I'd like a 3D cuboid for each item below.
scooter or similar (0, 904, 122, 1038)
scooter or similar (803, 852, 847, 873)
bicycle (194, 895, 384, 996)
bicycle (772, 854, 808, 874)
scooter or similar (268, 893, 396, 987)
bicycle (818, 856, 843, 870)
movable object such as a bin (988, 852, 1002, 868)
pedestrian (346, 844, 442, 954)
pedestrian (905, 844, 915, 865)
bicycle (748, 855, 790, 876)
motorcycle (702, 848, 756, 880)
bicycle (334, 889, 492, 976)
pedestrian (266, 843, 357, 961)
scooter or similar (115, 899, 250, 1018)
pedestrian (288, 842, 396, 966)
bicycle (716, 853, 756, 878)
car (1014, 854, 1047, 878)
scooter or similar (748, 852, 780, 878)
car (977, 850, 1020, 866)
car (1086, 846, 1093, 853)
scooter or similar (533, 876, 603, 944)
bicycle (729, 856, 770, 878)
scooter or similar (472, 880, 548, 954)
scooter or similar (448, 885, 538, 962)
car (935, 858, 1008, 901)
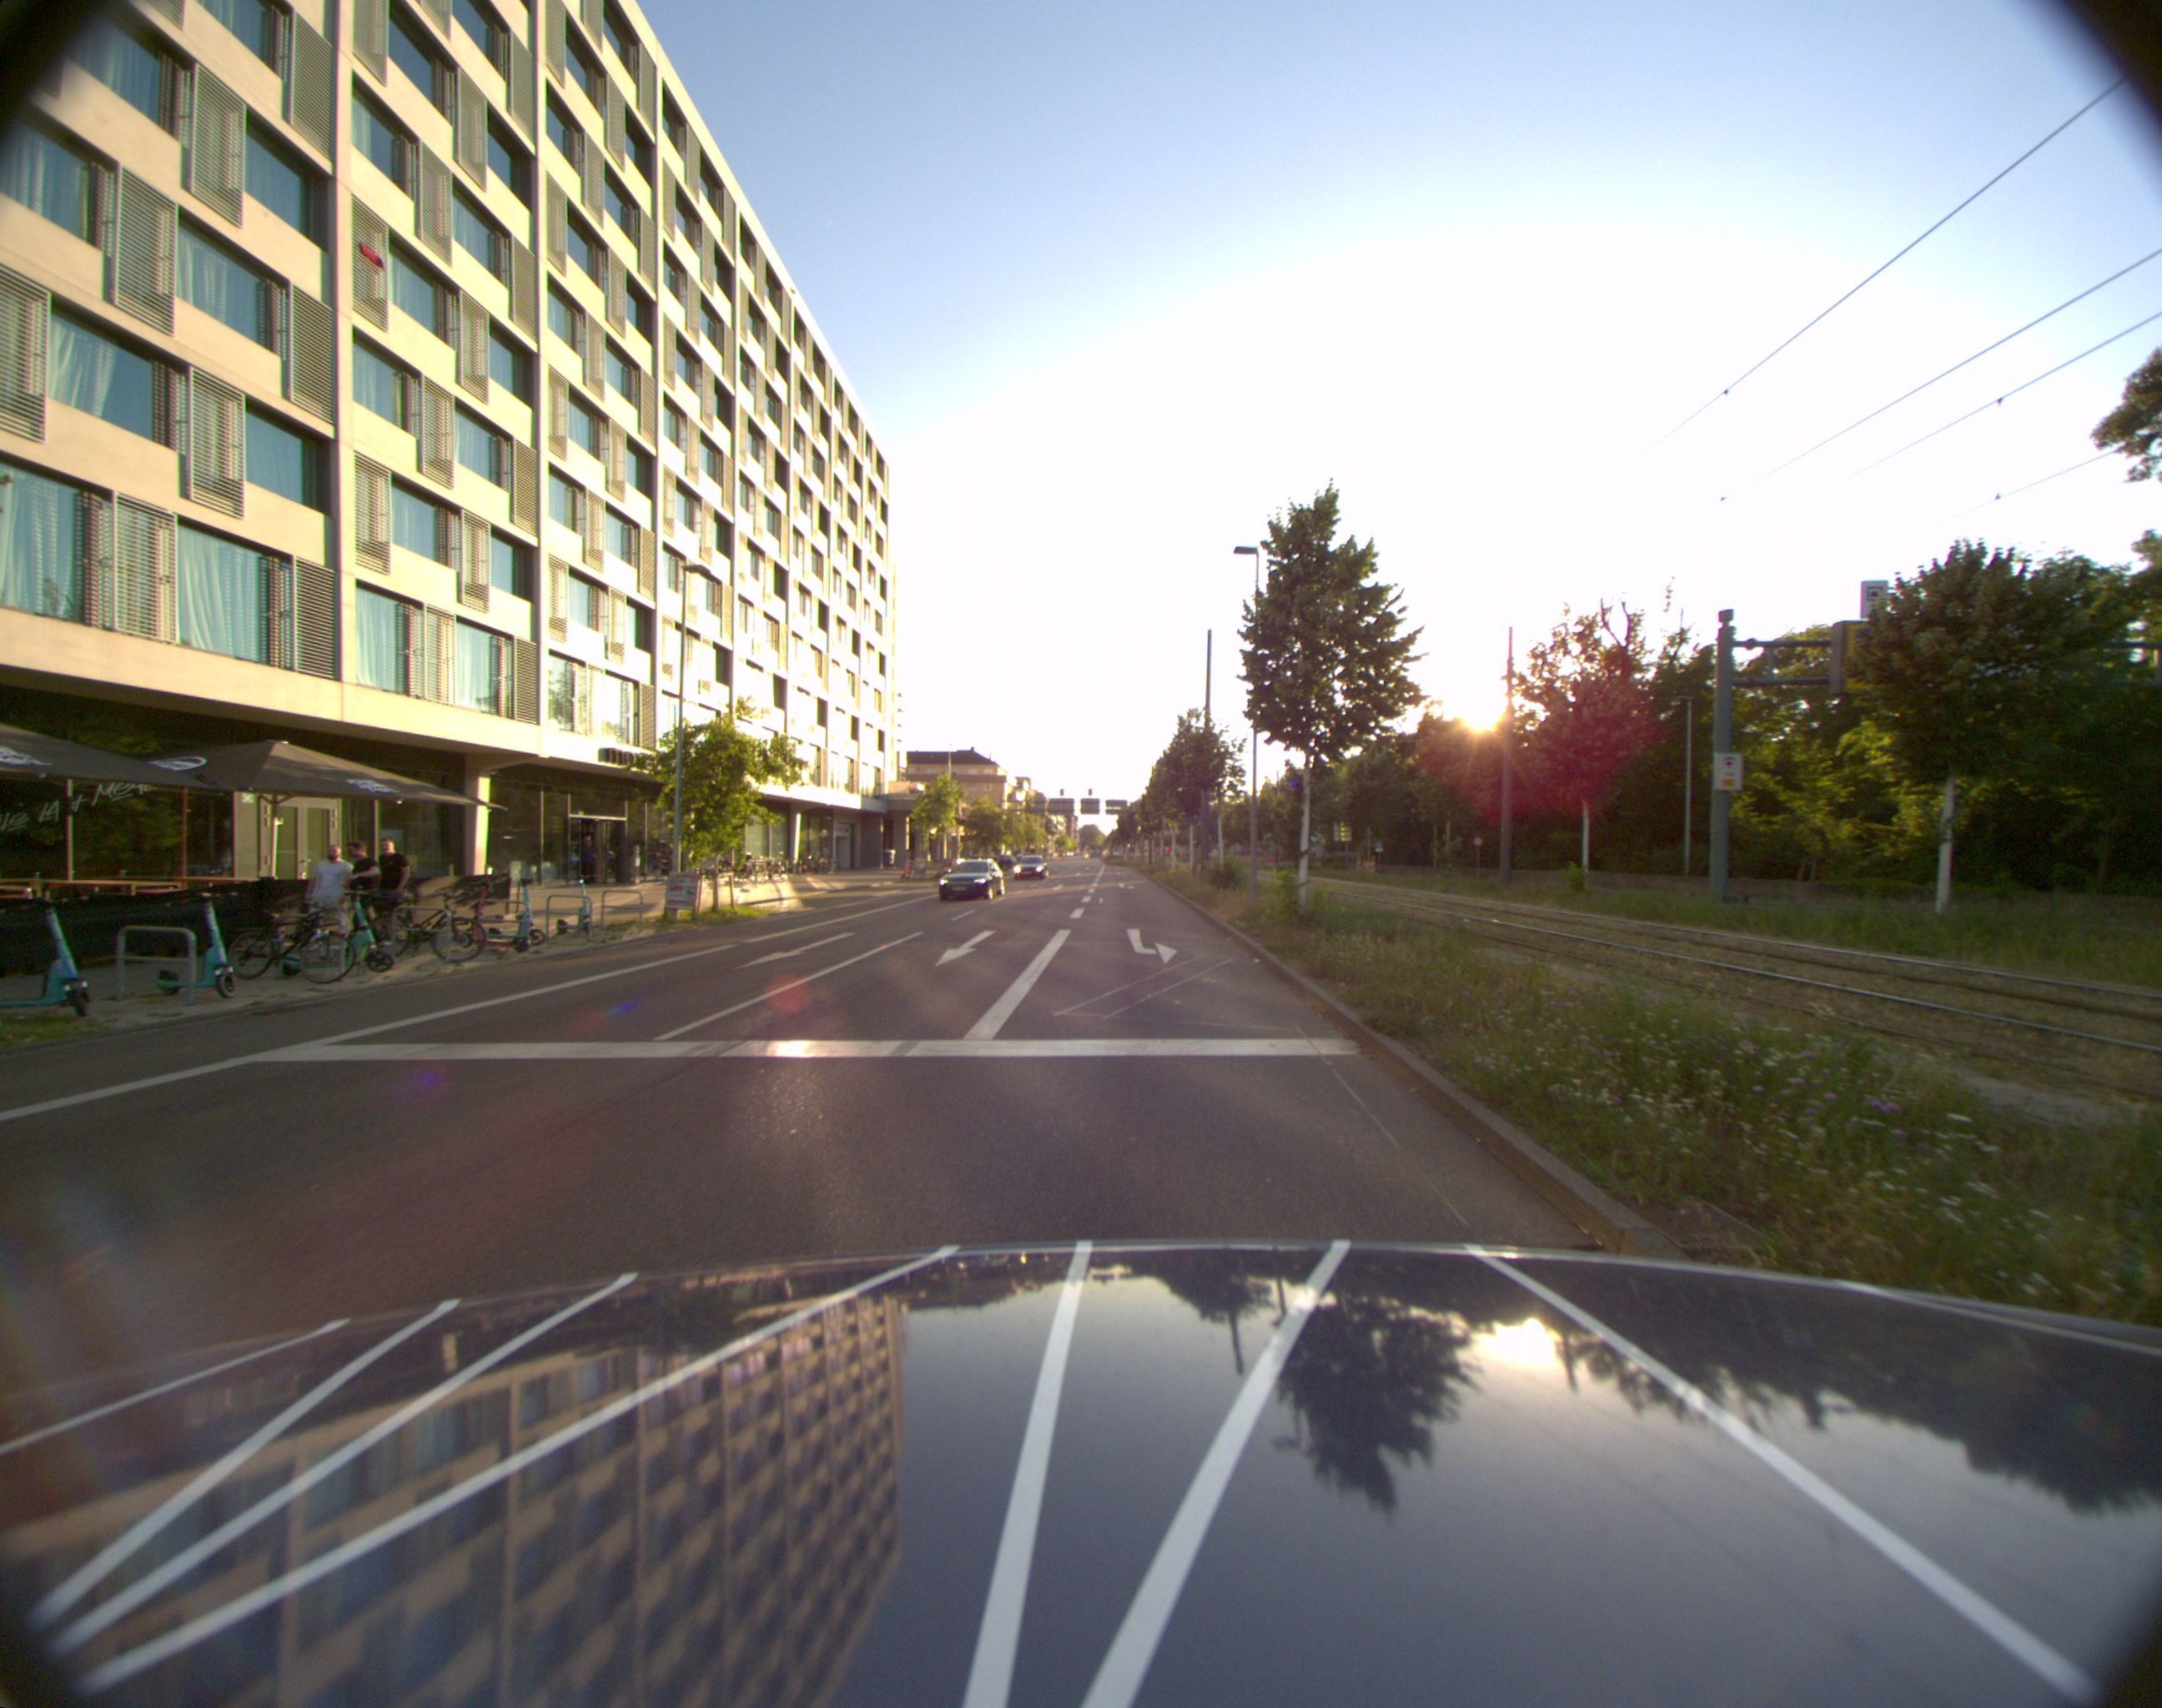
[{"bbox_3d":[-10.558,1.147,7.623,1.054,1.216,0.598,2,1,-2],"label":"scooter or similar"},{"bbox_3d":[-15.183,0.482,45.128,2.378,1.176,0.620,2,1,1],"label":"scooter or similar"},{"bbox_3d":[-10.295,1.179,9.918,1.798,1.187,0.567,3,1,-3],"label":"bicycle"},{"bbox_3d":[-16.002,0.543,41.766,1.704,0.980,0.551,2,1,-1],"label":"bicycle"},{"bbox_3d":[-10.242,1.166,10.408,1.212,1.194,0.480,2,1,-3],"label":"scooter or similar"},{"bbox_3d":[-15.970,0.576,48.427,1.425,0.886,0.457,1,1,1],"label":"bicycle"},{"bbox_3d":[-7.470,0.499,65.923,1.088,1.294,1.360,3,1,-5],"label":"movable object such as a bin"},{"bbox_3d":[-11.884,0.743,13.174,0.757,1.814,0.941,3,1,11],"label":"pedestrian"},{"bbox_3d":[-13.232,0.037,58.876,0.577,1.609,0.643,2,1,-1],"label":"pedestrian"},{"bbox_3d":[-16.032,0.585,39.074,1.890,1.004,0.565,3,1,0],"label":"bicycle"},{"bbox_3d":[-16.307,0.455,35.211,2.119,1.378,0.671,2,0,-12],"label":"motorcycle"},{"bbox_3d":[-10.156,1.173,11.584,1.851,1.175,0.608,3,1,1],"label":"bicycle"},{"bbox_3d":[-12.348,0.747,12.204,0.620,1.801,0.777,4,2,11],"label":"pedestrian"},{"bbox_3d":[-10.307,1.171,8.728,1.063,1.216,0.550,3,1,11],"label":"scooter or similar"},{"bbox_3d":[-11.666,0.749,12.017,0.745,1.838,0.941,3,2,11],"label":"pedestrian"},{"bbox_3d":[-16.376,0.545,36.084,1.612,1.148,0.611,2,1,-10],"label":"bicycle"},{"bbox_3d":[-3.128,0.702,47.828,1.863,1.387,4.275,-2,0,-2],"label":"car"},{"bbox_3d":[-15.677,0.517,37.600,1.271,1.226,0.608,2,1,-2],"label":"scooter or similar"},{"bbox_3d":[-8.369,0.395,77.402,3.999,1.408,1.746,2,1,-36],"label":"car"},{"bbox_3d":[2.239,-1.123,206.823,1.727,1.910,4.293,-2,0,-2],"label":"car"},{"bbox_3d":[-10.217,1.089,15.128,1.293,1.211,0.536,3,2,26],"label":"scooter or similar"},{"bbox_3d":[-16.113,0.614,36.977,1.704,0.980,0.551,2,1,-1],"label":"bicycle"},{"bbox_3d":[-10.280,1.122,13.691,1.129,1.207,0.532,3,3,17],"label":"scooter or similar"},{"bbox_3d":[-9.972,1.170,12.896,1.158,1.185,0.510,2,3,4],"label":"scooter or similar"},{"bbox_3d":[-4.008,0.913,28.462,1.915,1.387,4.277,-2,0,3],"label":"car"}]
